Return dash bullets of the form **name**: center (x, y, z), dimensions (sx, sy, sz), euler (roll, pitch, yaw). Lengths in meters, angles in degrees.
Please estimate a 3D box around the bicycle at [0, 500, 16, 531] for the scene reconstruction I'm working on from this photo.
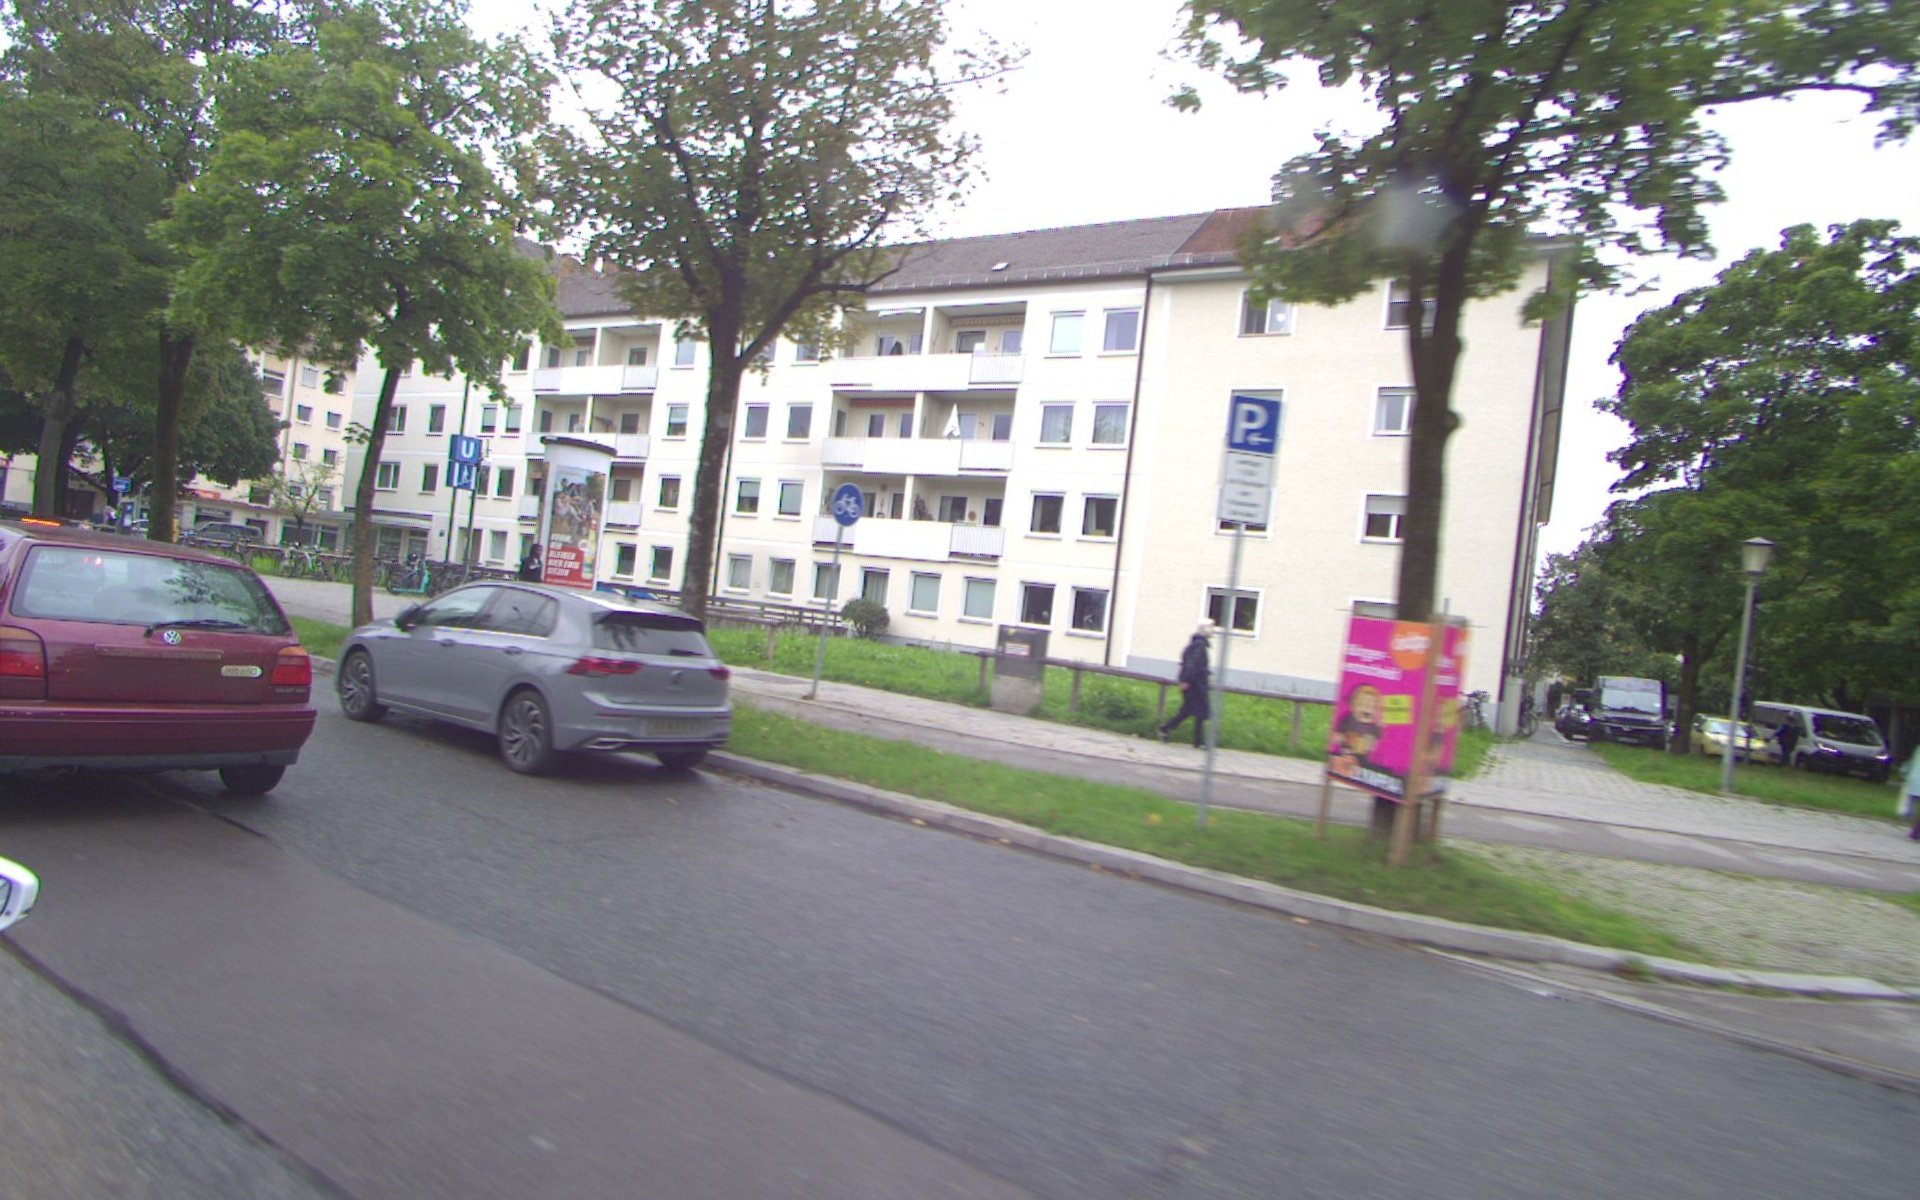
- **bicycle**: center (-37.764, -3.354, 39.576), dimensions (1.853, 1.116, 0.382), euler (6, -1, 33)

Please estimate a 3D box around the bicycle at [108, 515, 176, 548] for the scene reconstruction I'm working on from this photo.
- **bicycle**: center (-31.214, -2.613, 38.411), dimensions (0.549, 0.950, 1.880), euler (7, -2, 33)

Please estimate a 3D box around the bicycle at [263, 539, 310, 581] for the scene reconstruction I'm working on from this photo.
- **bicycle**: center (-20.961, -1.257, 31.291), dimensions (1.853, 1.115, 0.431), euler (7, 1, 33)

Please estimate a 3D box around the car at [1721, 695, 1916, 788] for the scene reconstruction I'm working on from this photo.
- **car**: center (27.025, 4.347, 32.025), dimensions (2.301, 2.078, 6.112), euler (7, 0, 17)

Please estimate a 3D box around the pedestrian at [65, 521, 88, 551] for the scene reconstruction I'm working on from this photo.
- **pedestrian**: center (-31.056, -2.244, 35.362), dimensions (0.428, 0.961, 0.408), euler (7, 0, 31)

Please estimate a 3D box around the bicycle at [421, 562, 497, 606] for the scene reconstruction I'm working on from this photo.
- **bicycle**: center (-13.701, -0.420, 27.575), dimensions (0.425, 1.041, 1.881), euler (7, 0, 29)

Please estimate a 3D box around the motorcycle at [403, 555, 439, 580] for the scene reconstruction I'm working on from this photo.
- **motorcycle**: center (-26.364, -1.602, 49.171), dimensions (1.875, 1.035, 0.605), euler (6, -1, 33)

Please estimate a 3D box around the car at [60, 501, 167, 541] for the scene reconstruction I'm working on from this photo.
- **car**: center (-50.414, -4.693, 59.992), dimensions (1.839, 1.681, 4.401), euler (7, 0, 29)

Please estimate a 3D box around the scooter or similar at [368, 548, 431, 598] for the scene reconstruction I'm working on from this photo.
- **scooter or similar**: center (-15.435, -0.738, 27.717), dimensions (1.367, 1.215, 0.358), euler (6, 1, -11)

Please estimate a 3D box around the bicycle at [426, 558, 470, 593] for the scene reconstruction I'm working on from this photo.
- **bicycle**: center (-18.107, -0.865, 35.542), dimensions (1.853, 1.041, 0.431), euler (7, 1, 33)

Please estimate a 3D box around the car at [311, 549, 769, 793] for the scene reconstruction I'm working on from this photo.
- **car**: center (-3.872, 0.549, 9.057), dimensions (4.048, 1.482, 1.685), euler (7, -2, 33)

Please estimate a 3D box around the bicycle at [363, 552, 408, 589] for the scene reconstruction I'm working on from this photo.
- **bicycle**: center (-19.282, -0.991, 33.757), dimensions (1.853, 1.041, 0.431), euler (7, 1, 33)

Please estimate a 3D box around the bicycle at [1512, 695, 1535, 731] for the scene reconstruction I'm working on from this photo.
- **bicycle**: center (17.182, 3.433, 30.688), dimensions (0.448, 0.983, 1.695), euler (7, 0, 28)

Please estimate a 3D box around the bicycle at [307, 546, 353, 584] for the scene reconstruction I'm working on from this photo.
- **bicycle**: center (-20.224, -1.125, 32.301), dimensions (1.853, 1.041, 0.431), euler (7, 1, 33)

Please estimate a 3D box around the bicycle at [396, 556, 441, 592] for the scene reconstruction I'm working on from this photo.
- **bicycle**: center (-18.774, -0.905, 34.867), dimensions (1.853, 1.041, 0.431), euler (7, 1, 33)

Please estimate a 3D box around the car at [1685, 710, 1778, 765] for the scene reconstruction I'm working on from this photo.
- **car**: center (23.694, 4.183, 31.024), dimensions (1.558, 1.216, 3.744), euler (8, 0, 29)

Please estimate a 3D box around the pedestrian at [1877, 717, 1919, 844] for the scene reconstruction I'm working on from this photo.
- **pedestrian**: center (12.850, 2.415, 13.298), dimensions (0.767, 1.593, 0.580), euler (7, -1, -5)

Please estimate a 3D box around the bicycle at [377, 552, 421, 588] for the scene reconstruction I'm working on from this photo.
- **bicycle**: center (-19.089, -1.025, 34.221), dimensions (1.853, 1.041, 0.431), euler (7, 1, 33)

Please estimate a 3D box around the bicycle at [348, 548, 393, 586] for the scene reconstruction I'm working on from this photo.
- **bicycle**: center (-19.562, -1.099, 33.363), dimensions (1.853, 1.041, 0.431), euler (7, 1, 33)

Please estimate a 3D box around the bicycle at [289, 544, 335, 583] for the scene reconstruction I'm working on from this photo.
- **bicycle**: center (-20.521, -1.166, 31.839), dimensions (1.853, 1.041, 0.431), euler (7, 1, 33)

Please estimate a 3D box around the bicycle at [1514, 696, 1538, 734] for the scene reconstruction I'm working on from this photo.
- **bicycle**: center (16.368, 3.323, 29.111), dimensions (0.448, 0.983, 1.695), euler (7, 0, 28)

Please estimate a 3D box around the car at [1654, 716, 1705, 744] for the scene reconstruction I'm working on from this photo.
- **car**: center (44.386, 8.005, 62.168), dimensions (1.556, 1.216, 3.749), euler (8, 0, 22)

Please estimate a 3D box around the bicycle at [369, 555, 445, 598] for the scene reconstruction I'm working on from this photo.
- **bicycle**: center (-15.772, -0.645, 28.731), dimensions (0.425, 1.041, 1.881), euler (7, 0, 29)

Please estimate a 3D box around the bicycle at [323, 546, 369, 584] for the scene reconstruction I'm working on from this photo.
- **bicycle**: center (-19.993, -1.139, 32.728), dimensions (1.853, 1.041, 0.431), euler (7, 1, 33)

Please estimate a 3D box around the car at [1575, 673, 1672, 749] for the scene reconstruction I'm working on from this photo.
- **car**: center (22.019, 3.617, 33.607), dimensions (2.307, 2.023, 6.098), euler (7, 0, 32)

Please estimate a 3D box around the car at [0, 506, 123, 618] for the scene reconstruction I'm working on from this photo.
- **car**: center (-15.392, -0.743, 16.139), dimensions (4.108, 1.482, 1.754), euler (7, -2, 33)

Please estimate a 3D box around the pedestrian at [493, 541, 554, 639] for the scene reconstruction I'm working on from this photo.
- **pedestrian**: center (-8.458, -0.195, 19.485), dimensions (0.837, 1.772, 0.638), euler (8, 2, 41)

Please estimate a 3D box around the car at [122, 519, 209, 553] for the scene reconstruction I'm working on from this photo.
- **car**: center (-47.409, -3.783, 60.075), dimensions (1.841, 1.434, 3.553), euler (7, -1, 32)

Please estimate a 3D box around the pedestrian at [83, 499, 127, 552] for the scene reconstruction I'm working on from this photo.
- **pedestrian**: center (-30.455, -2.650, 35.830), dimensions (0.821, 1.702, 0.839), euler (7, 0, 31)

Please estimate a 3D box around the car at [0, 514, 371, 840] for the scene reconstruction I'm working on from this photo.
- **car**: center (-5.471, 0.235, 5.933), dimensions (3.853, 1.399, 1.686), euler (7, -2, 31)

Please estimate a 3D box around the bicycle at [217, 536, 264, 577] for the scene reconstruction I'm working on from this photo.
- **bicycle**: center (-21.770, -1.325, 30.422), dimensions (1.853, 1.041, 0.431), euler (7, 1, 33)

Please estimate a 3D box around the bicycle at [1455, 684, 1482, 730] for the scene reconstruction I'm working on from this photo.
- **bicycle**: center (12.033, 2.499, 23.783), dimensions (0.448, 0.983, 1.695), euler (7, 0, 28)

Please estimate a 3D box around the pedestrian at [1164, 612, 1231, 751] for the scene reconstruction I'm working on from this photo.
- **pedestrian**: center (3.164, 1.073, 13.454), dimensions (0.590, 1.750, 0.642), euler (7, -1, 6)

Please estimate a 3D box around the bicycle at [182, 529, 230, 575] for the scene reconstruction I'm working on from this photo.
- **bicycle**: center (-22.172, -1.421, 29.570), dimensions (1.853, 1.148, 0.431), euler (7, 1, 33)

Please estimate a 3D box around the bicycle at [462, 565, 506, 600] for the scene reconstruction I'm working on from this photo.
- **bicycle**: center (-17.201, -0.641, 36.321), dimensions (1.853, 1.041, 0.431), euler (7, 1, 33)
